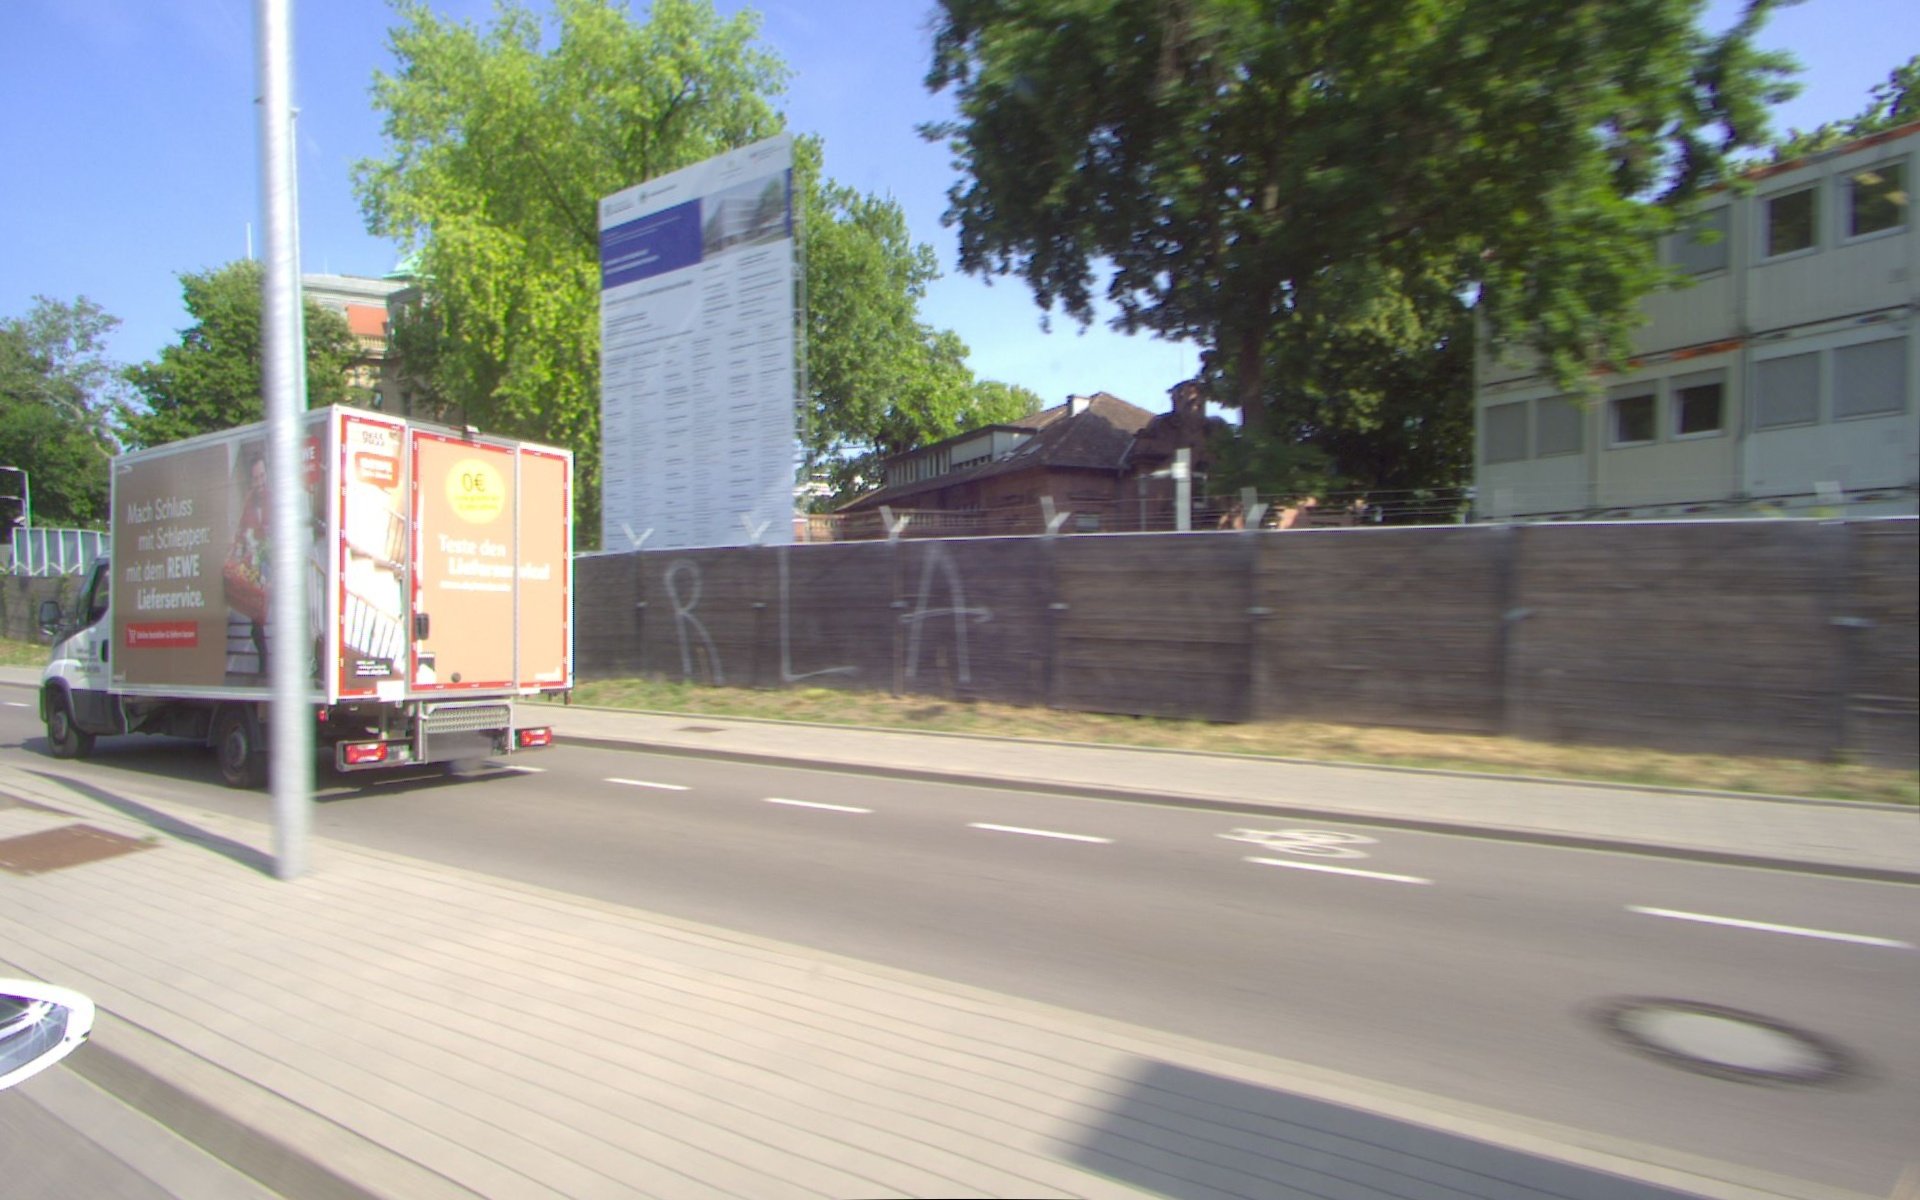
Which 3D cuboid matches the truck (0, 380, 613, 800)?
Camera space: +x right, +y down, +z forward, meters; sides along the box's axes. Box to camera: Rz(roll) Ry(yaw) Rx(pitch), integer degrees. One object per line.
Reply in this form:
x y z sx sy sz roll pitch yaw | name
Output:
-7.269 0.010 10.452 7.704 3.099 2.499 -1 -2 31 | truck
